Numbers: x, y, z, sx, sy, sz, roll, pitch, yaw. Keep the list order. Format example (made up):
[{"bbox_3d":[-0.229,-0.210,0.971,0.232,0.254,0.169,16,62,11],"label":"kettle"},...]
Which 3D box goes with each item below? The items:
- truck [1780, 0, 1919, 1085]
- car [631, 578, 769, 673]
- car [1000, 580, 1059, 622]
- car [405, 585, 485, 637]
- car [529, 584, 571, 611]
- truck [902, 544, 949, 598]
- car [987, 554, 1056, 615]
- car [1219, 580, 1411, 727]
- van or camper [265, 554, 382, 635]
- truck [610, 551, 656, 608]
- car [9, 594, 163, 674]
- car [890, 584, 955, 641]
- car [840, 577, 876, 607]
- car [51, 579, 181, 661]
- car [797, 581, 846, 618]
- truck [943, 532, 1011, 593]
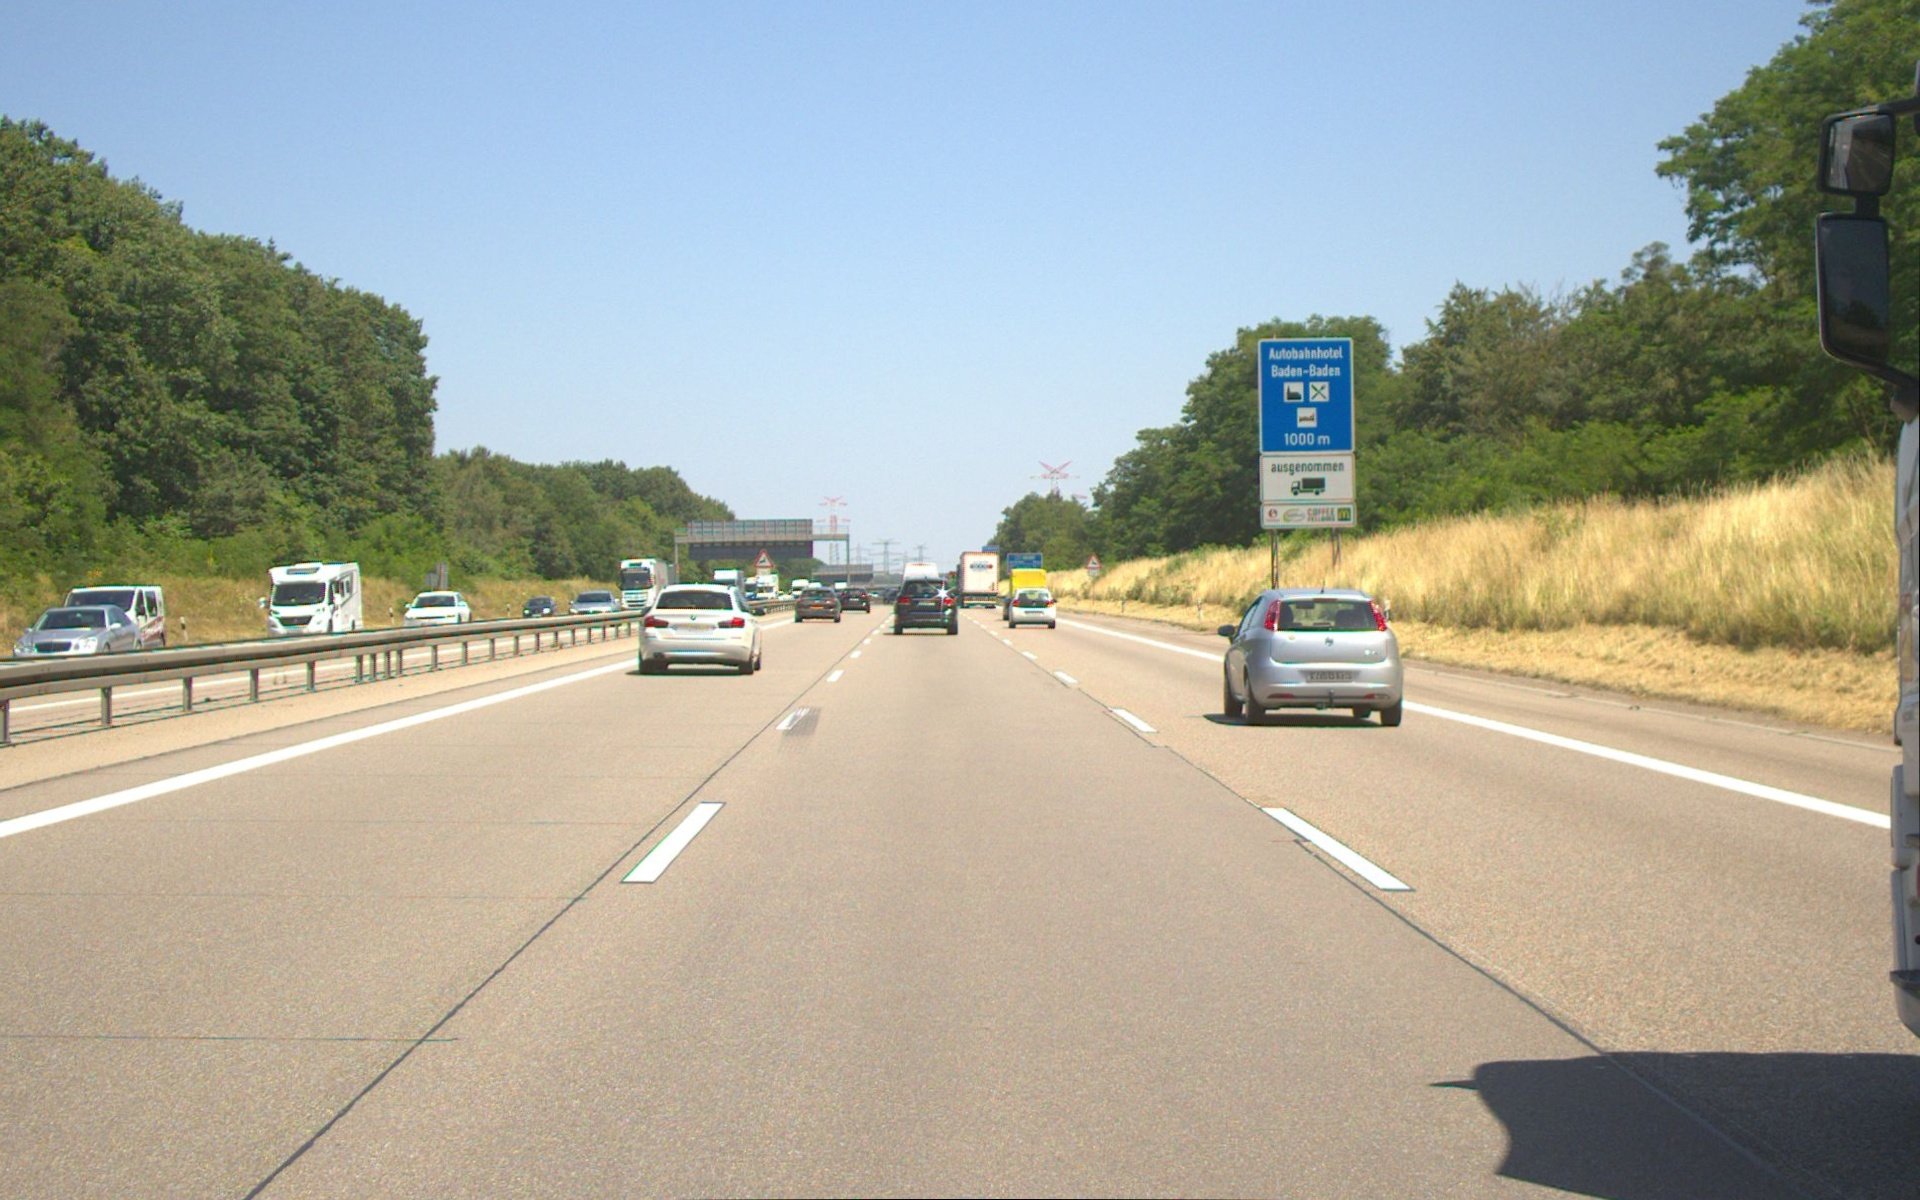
[{"bbox_3d":[3.899,-0.560,7.694,2.684,3.746,5.944,0,1,0],"label":"truck"},{"bbox_3d":[-4.306,0.397,57.571,1.963,1.498,5.405,0,0,-1],"label":"car"},{"bbox_3d":[2.488,0.034,124.324,1.821,1.486,3.737,1,0,-3],"label":"car"},{"bbox_3d":[-18.097,0.376,121.016,1.993,1.688,5.245,-3,0,0],"label":"car"},{"bbox_3d":[-22.738,-0.148,190.601,1.814,1.391,4.111,-3,0,0],"label":"car"},{"bbox_3d":[-1.930,-1.573,190.056,2.428,2.874,6.205,1,0,-2],"label":"truck"},{"bbox_3d":[2.708,-0.678,152.912,2.666,2.625,6.113,1,0,-2],"label":"car"},{"bbox_3d":[3.872,0.551,37.985,1.719,1.486,3.737,1,1,0],"label":"car"},{"bbox_3d":[-21.611,-0.215,117.063,2.462,2.566,7.770,-3,0,0],"label":"van or camper"},{"bbox_3d":[-24.418,-1.516,256.879,2.904,4.053,5.654,-3,0,-1],"label":"truck"},{"bbox_3d":[-17.835,0.666,70.412,1.851,1.522,5.205,-1,0,-1],"label":"car"},{"bbox_3d":[-1.176,0.373,105.039,1.831,1.666,4.000,1,0,-2],"label":"car"},{"bbox_3d":[-5.661,-0.444,191.683,1.875,1.575,3.928,0,1,0],"label":"car"},{"bbox_3d":[-21.626,0.488,88.299,1.993,1.946,5.245,-3,0,0],"label":"car"},{"bbox_3d":[-5.592,-0.022,139.579,1.832,1.427,4.999,0,1,-1],"label":"car"},{"bbox_3d":[1.208,-2.758,252.872,3.991,4.300,9.883,2,0,-5],"label":"truck"}]
